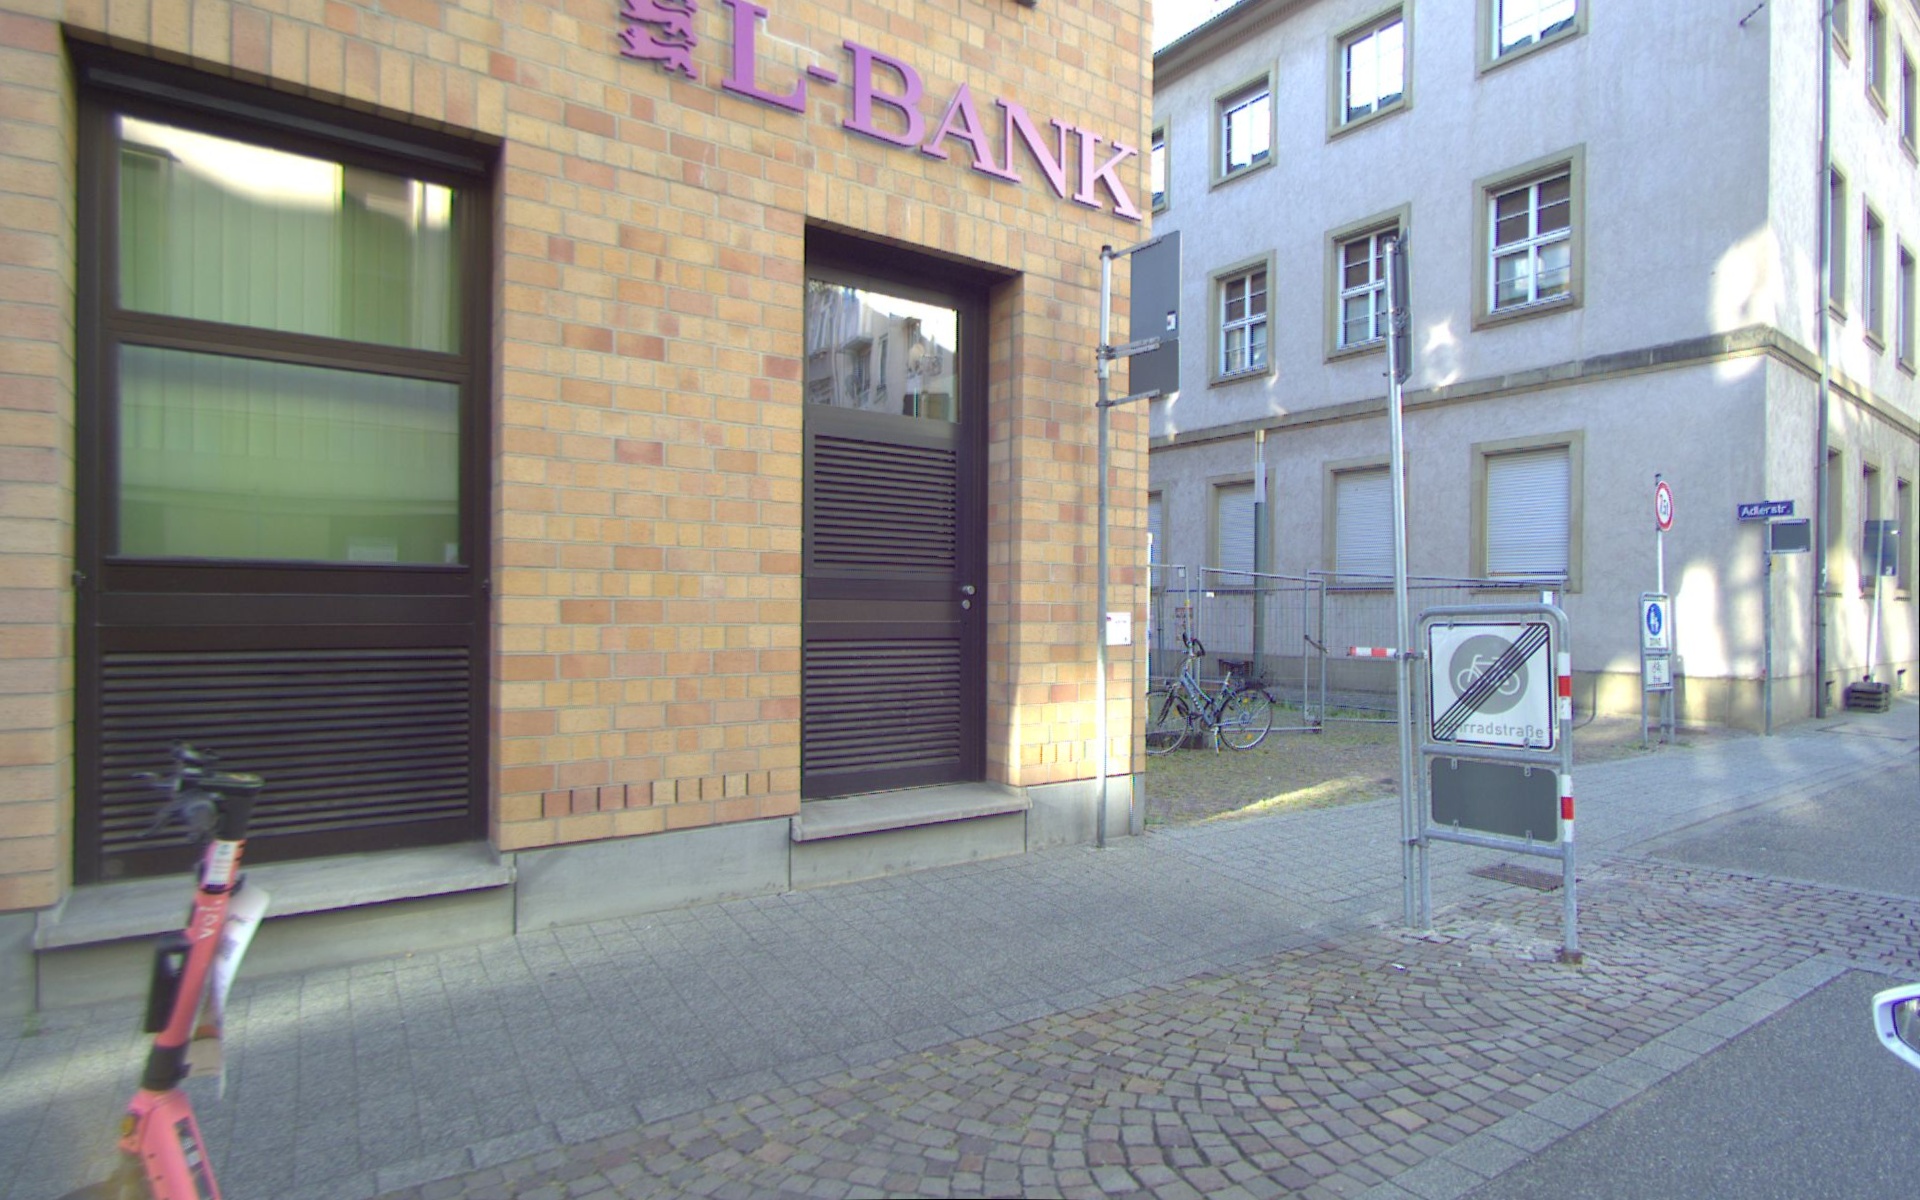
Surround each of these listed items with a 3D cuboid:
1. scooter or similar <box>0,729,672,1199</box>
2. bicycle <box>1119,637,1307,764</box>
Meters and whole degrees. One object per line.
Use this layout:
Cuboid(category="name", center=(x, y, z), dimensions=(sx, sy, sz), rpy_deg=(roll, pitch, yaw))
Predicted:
Cuboid(category="scooter or similar", center=(-1.383, 0.939, 2.171), dimensions=(1.331, 1.233, 0.700), rpy_deg=(0, -1, -4))
Cuboid(category="bicycle", center=(2.642, 1.015, 10.550), dimensions=(1.745, 1.217, 0.808), rpy_deg=(1, 1, -17))
